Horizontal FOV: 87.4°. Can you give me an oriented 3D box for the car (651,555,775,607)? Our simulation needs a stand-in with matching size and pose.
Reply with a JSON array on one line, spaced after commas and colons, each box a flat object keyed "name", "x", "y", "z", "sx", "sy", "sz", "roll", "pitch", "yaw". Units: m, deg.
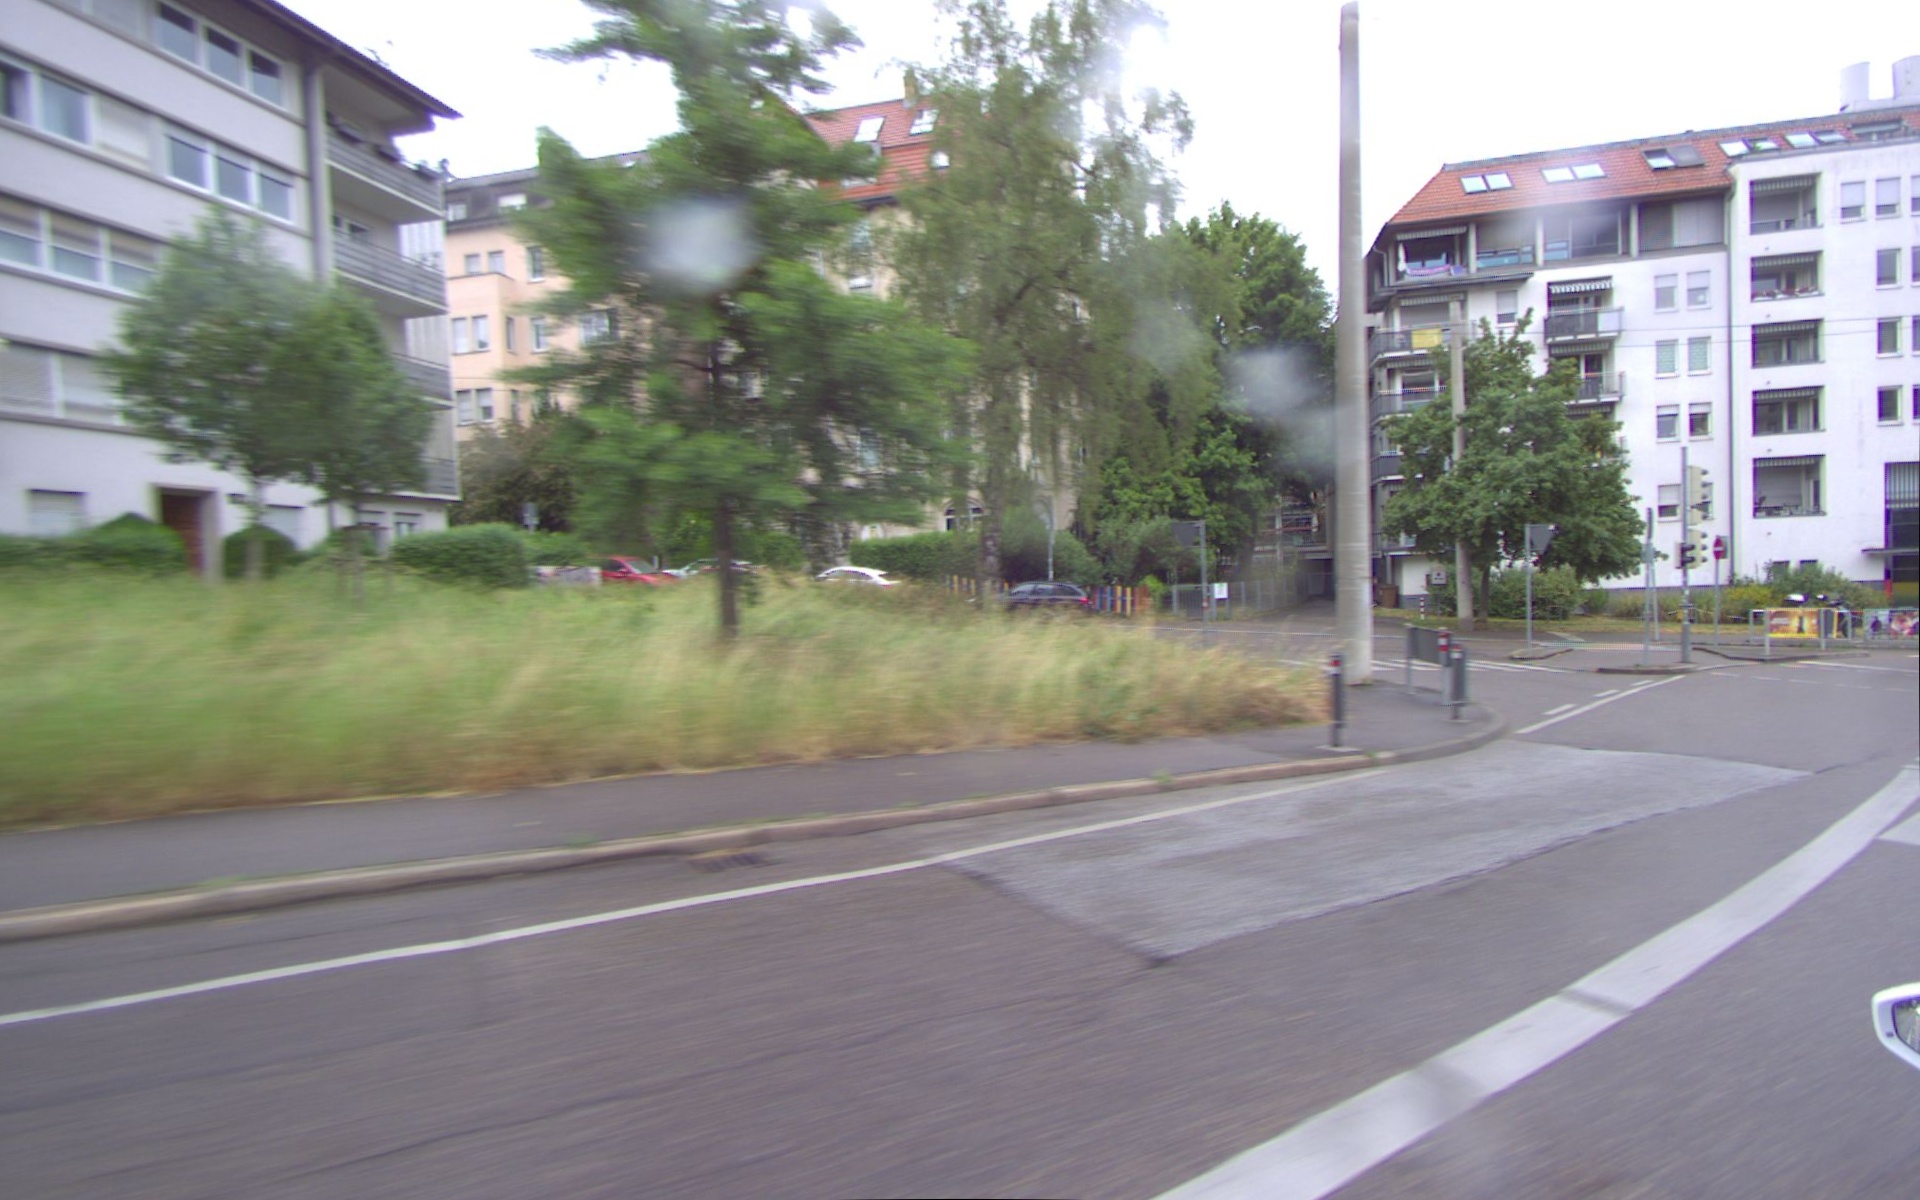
[{"name": "car", "x": -9.386, "y": -0.706, "z": 38.306, "sx": 4.197, "sy": 1.859, "sz": 1.807, "roll": 1, "pitch": 0, "yaw": 10}]

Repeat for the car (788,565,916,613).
[{"name": "car", "x": -3.955, "y": -0.411, "z": 37.209, "sx": 4.268, "sy": 1.615, "sz": 2.001, "roll": 2, "pitch": 1, "yaw": 13}]

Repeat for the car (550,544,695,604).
[{"name": "car", "x": -11.170, "y": -0.869, "z": 33.321, "sx": 4.197, "sy": 1.859, "sz": 1.807, "roll": 1, "pitch": 1, "yaw": 10}]

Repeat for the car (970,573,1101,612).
[{"name": "car", "x": 2.661, "y": -0.280, "z": 35.273, "sx": 4.269, "sy": 1.240, "sz": 1.754, "roll": 2, "pitch": 1, "yaw": 17}]

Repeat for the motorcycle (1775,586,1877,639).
[{"name": "motorcycle", "x": 27.538, "y": 0.392, "z": 31.971, "sx": 2.391, "sy": 1.572, "sz": 0.699, "roll": 1, "pitch": 5, "yaw": 6}]
